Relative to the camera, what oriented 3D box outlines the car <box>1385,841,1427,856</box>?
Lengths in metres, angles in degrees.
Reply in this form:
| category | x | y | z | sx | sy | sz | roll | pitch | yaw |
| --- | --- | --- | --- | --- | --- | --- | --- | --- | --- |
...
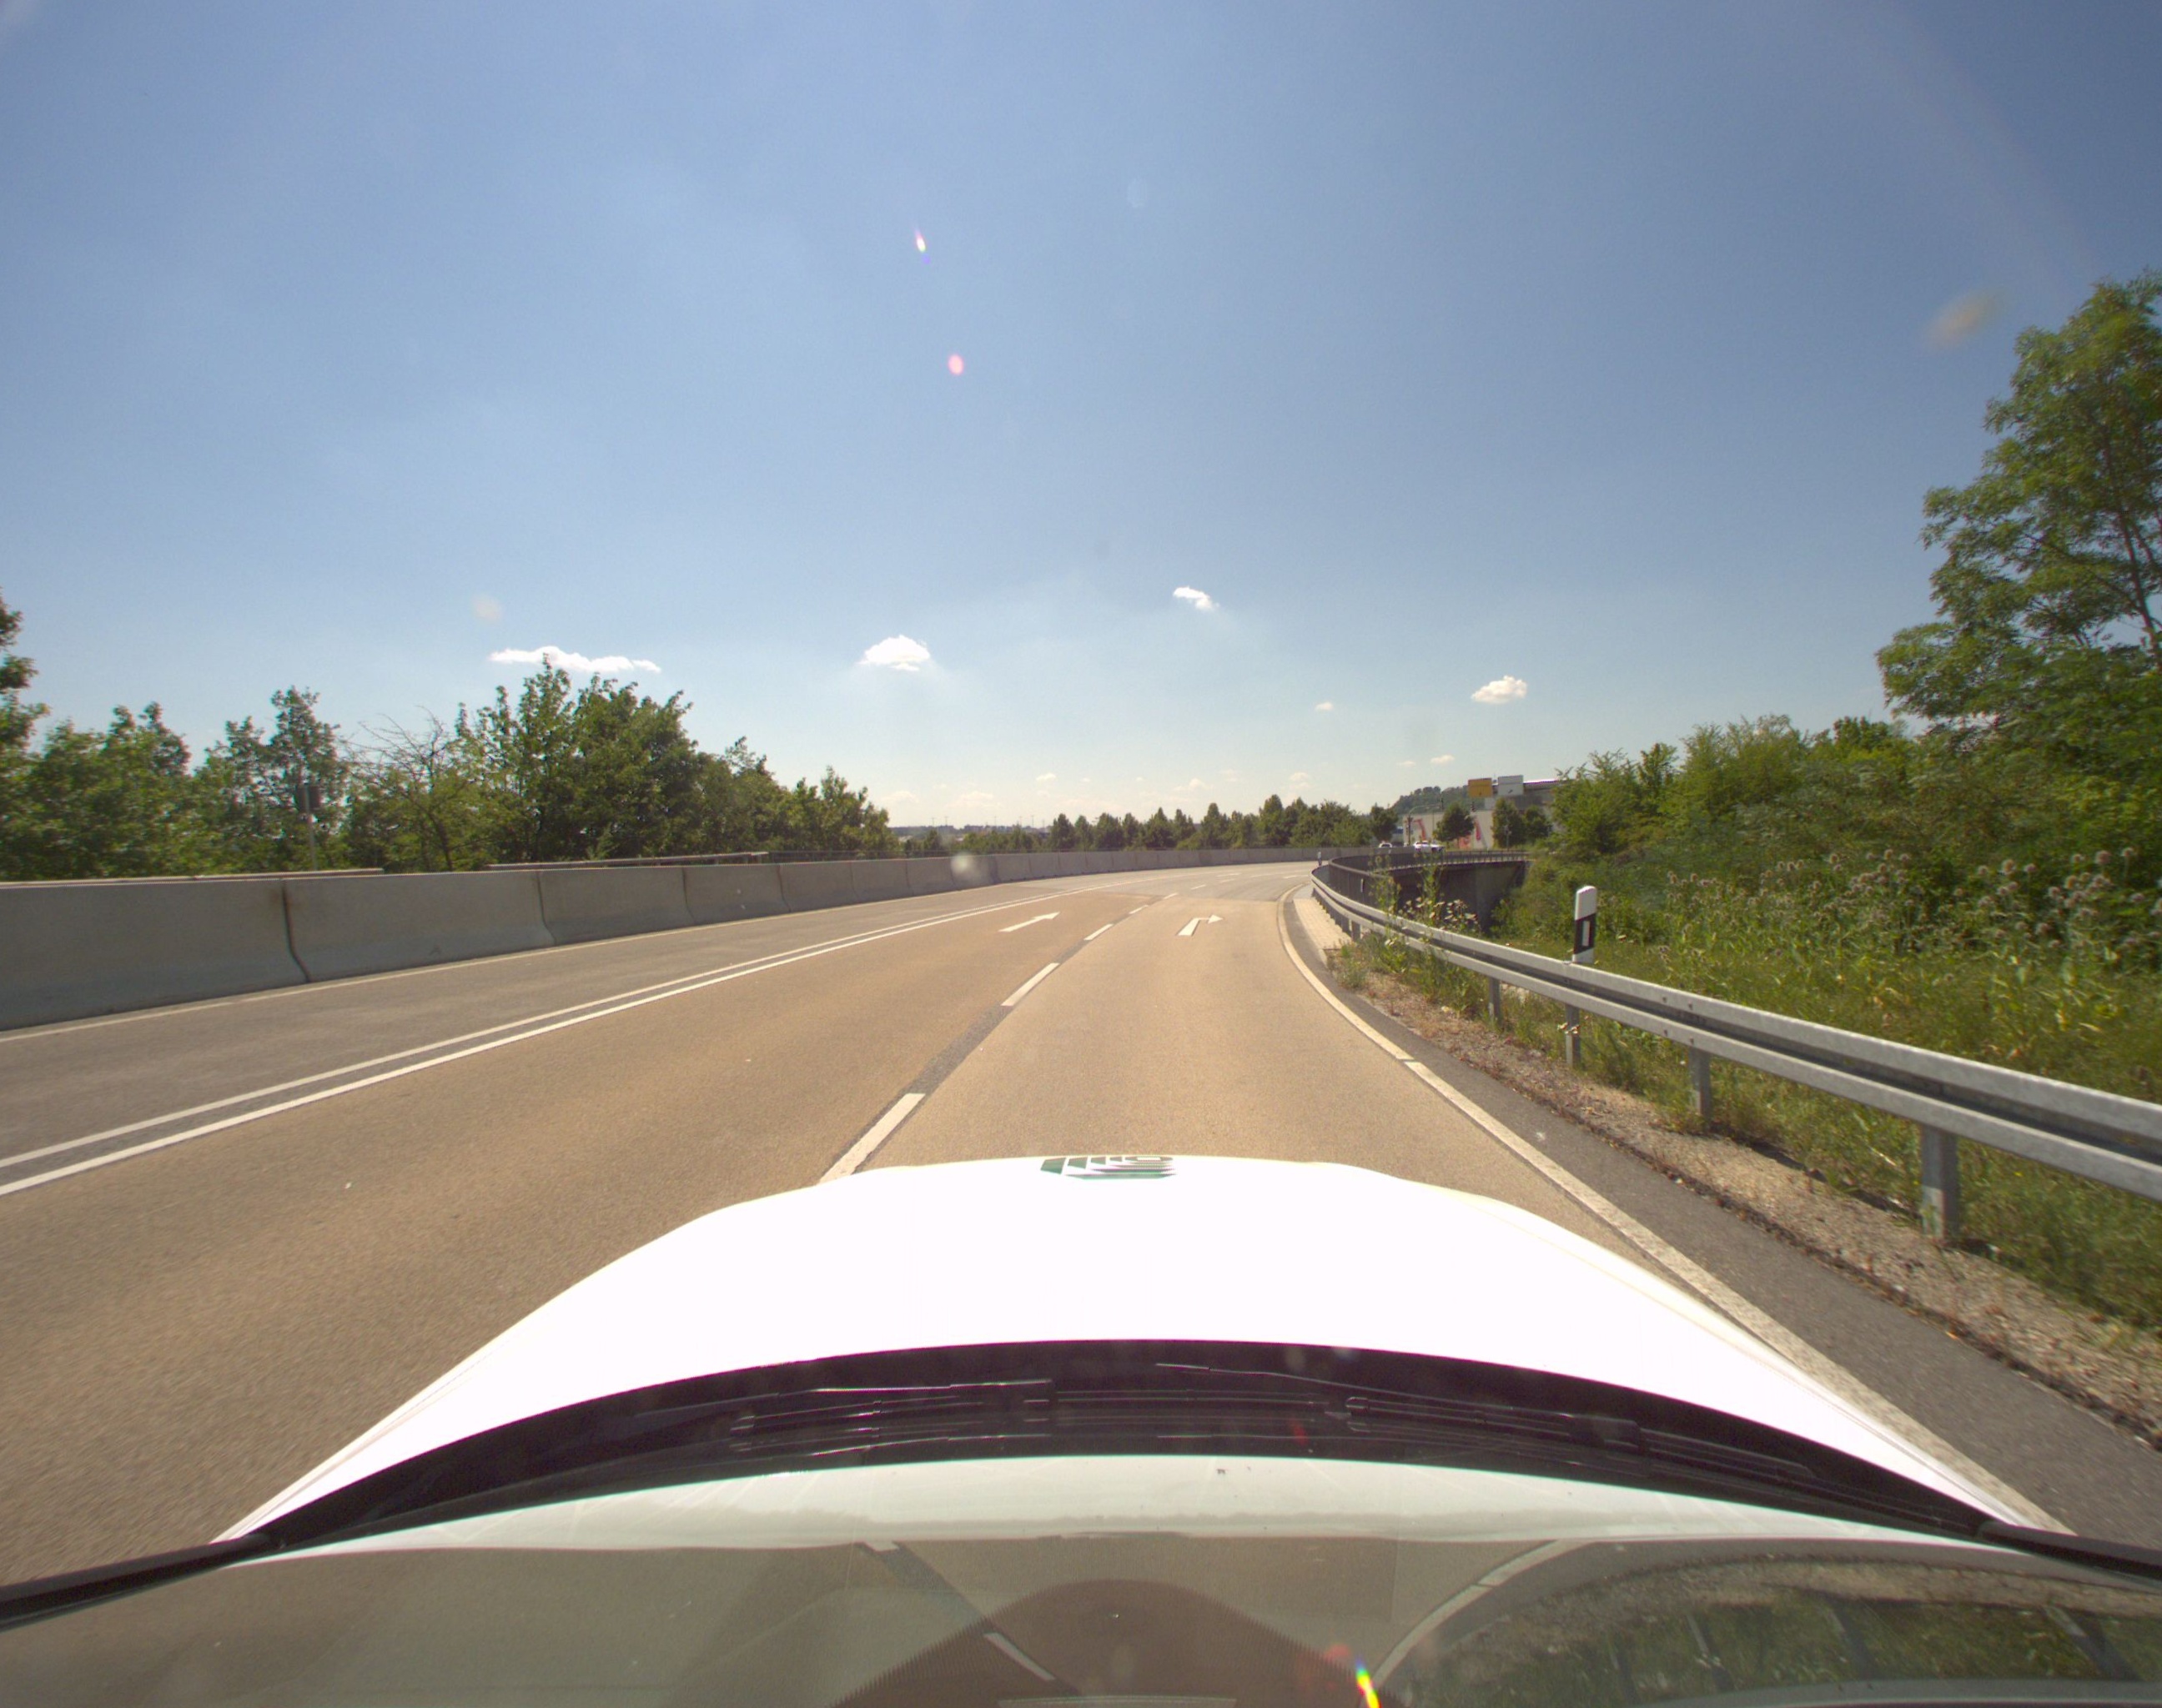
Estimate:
| category | x | y | z | sx | sy | sz | roll | pitch | yaw |
| --- | --- | --- | --- | --- | --- | --- | --- | --- | --- |
| car | 43.394 | -0.784 | 108.863 | 2.113 | 1.965 | 4.805 | 0 | 0 | -42 |
